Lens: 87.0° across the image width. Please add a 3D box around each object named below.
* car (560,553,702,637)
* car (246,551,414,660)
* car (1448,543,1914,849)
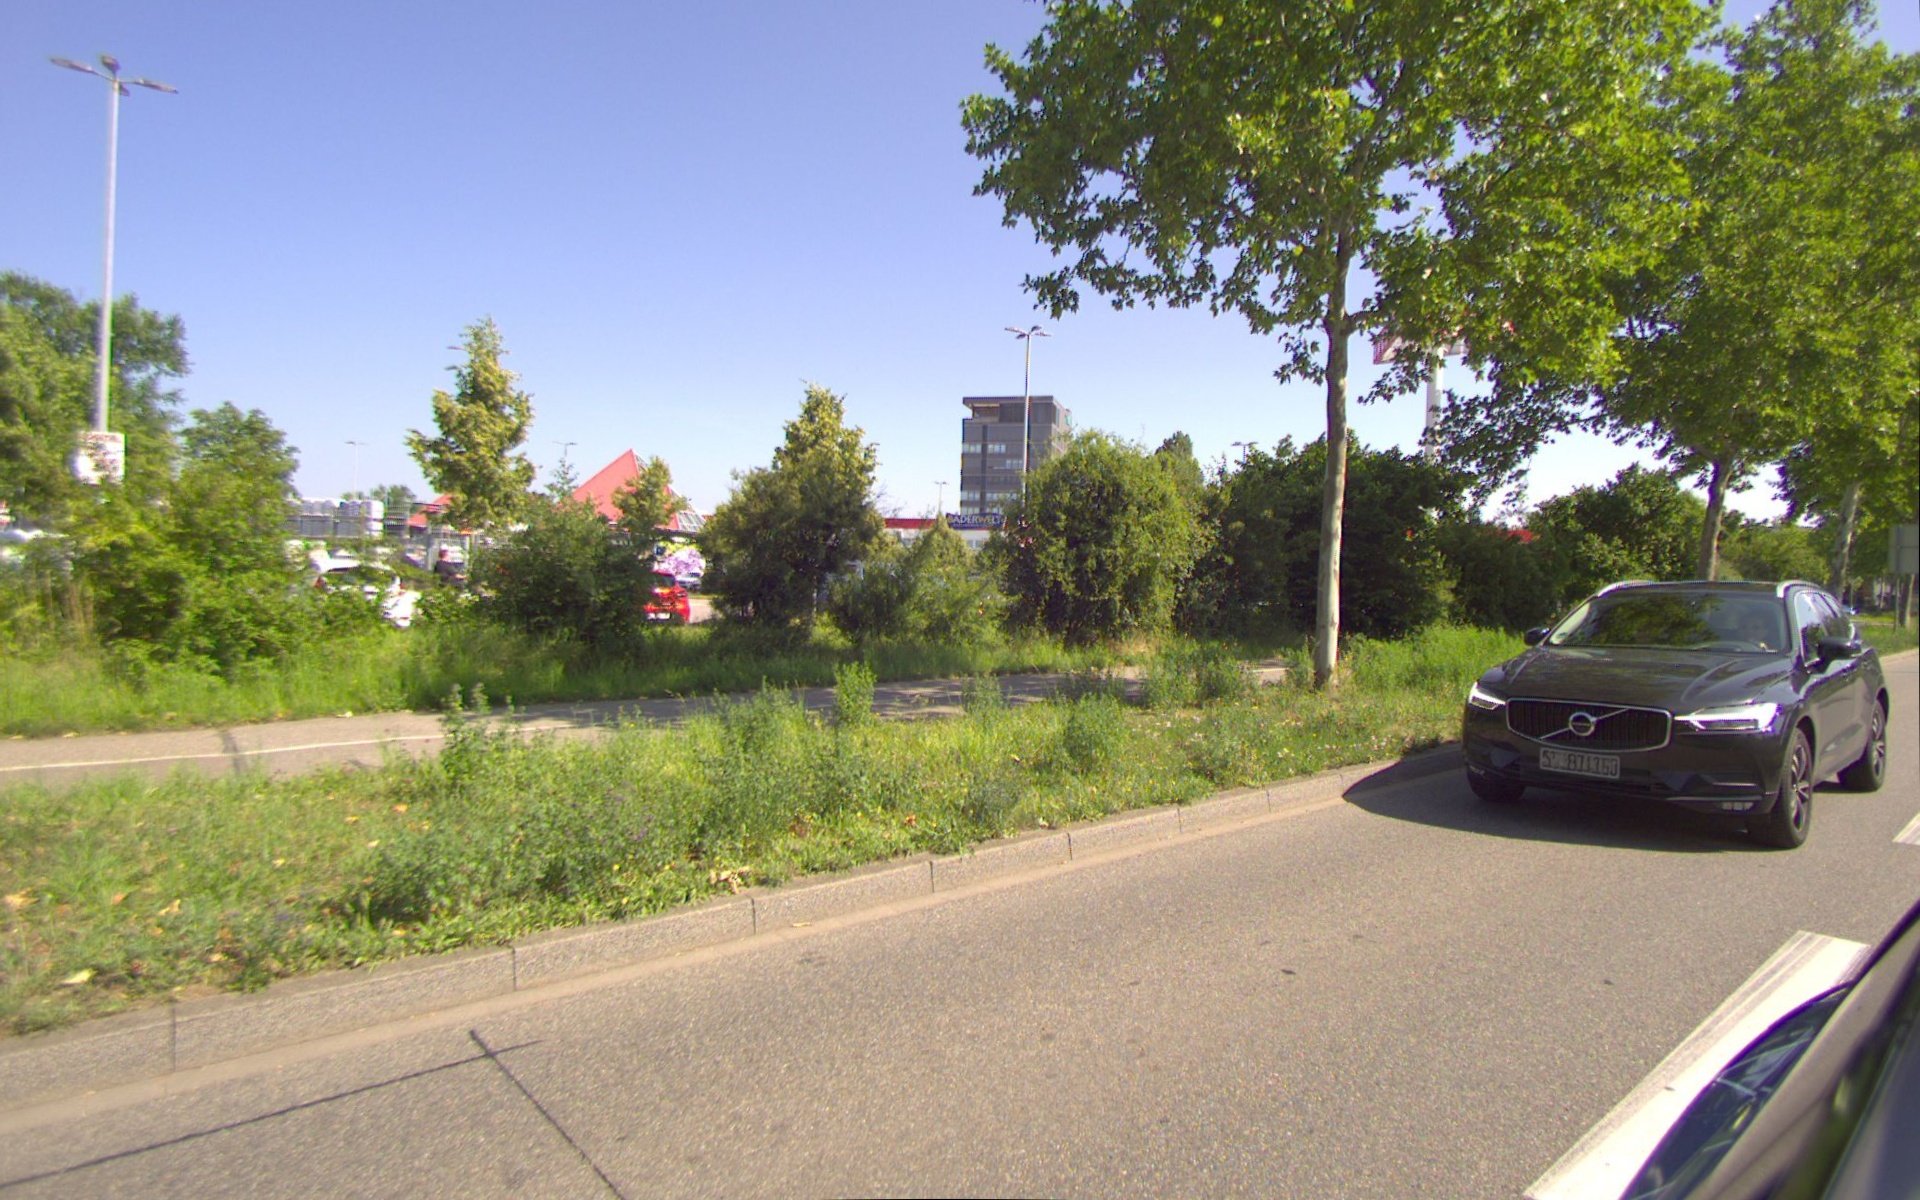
[{"bbox_3d":[-7.335,-0.124,22.356,1.658,1.691,3.828,0,1,-41],"label":"car"},{"bbox_3d":[-11.639,0.061,18.594,3.987,1.794,1.725,1,1,44],"label":"car"},{"bbox_3d":[5.634,0.484,7.658,4.486,1.642,1.922,-1,1,-41],"label":"car"}]
